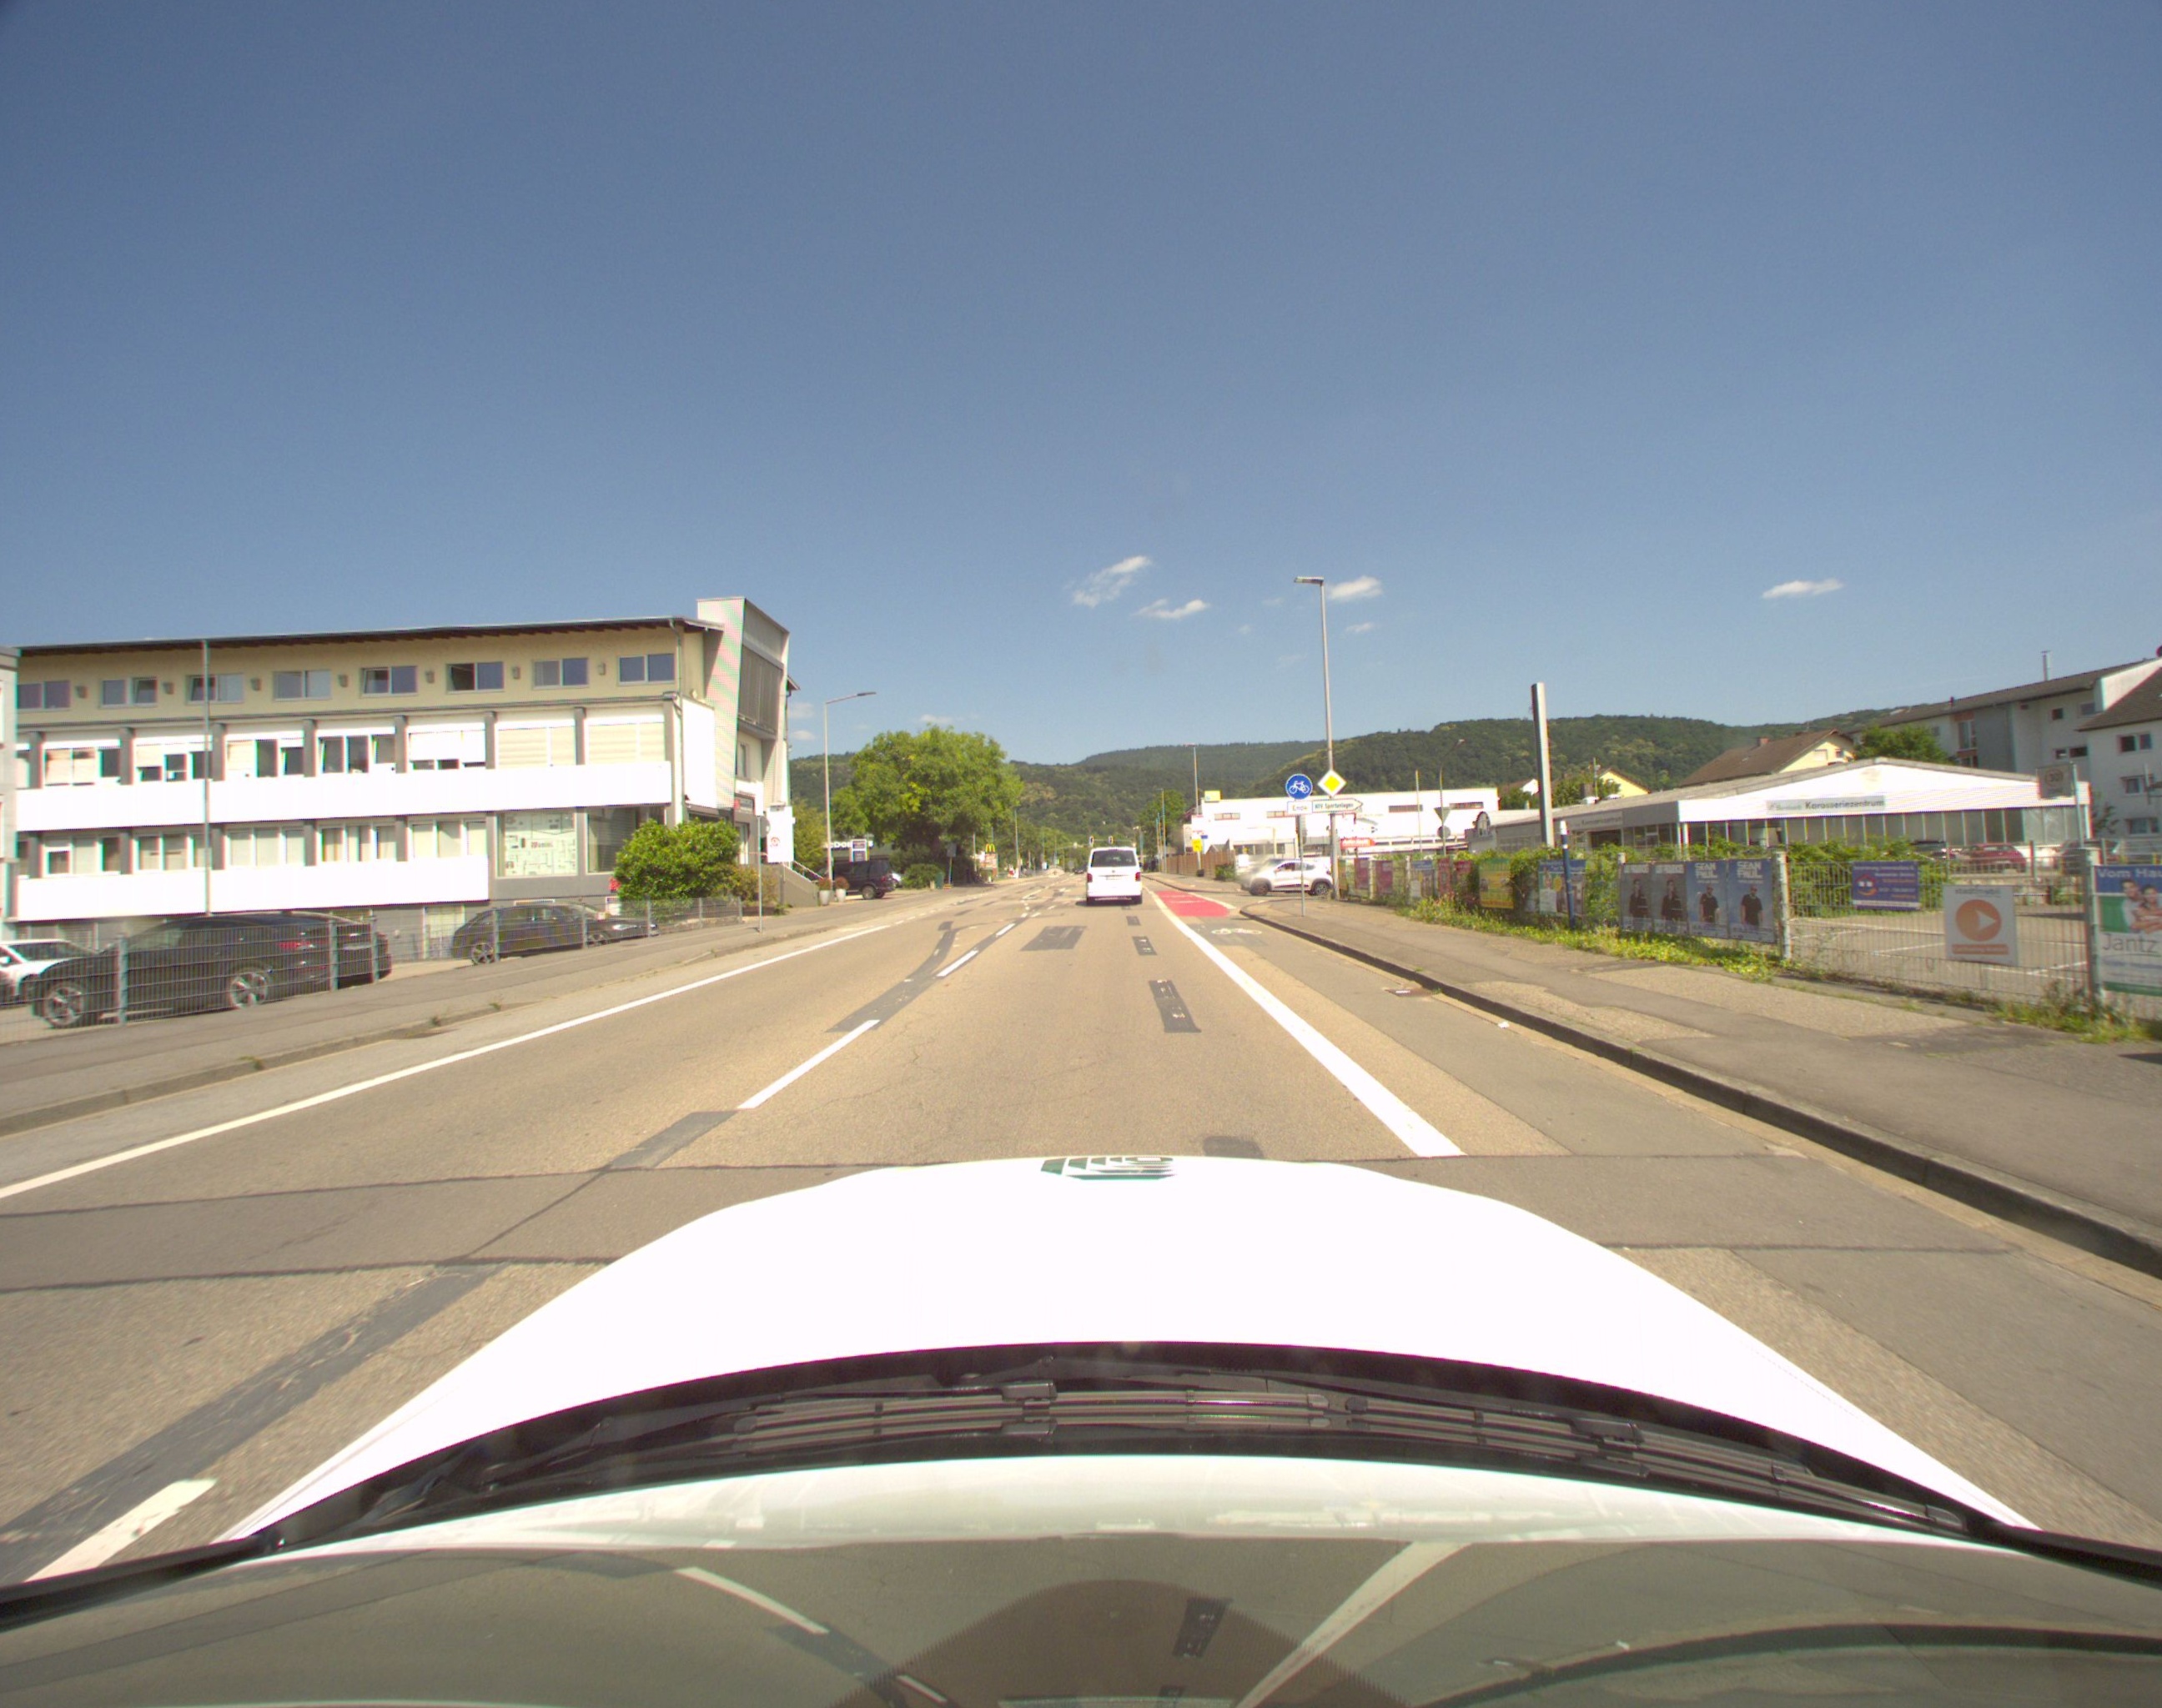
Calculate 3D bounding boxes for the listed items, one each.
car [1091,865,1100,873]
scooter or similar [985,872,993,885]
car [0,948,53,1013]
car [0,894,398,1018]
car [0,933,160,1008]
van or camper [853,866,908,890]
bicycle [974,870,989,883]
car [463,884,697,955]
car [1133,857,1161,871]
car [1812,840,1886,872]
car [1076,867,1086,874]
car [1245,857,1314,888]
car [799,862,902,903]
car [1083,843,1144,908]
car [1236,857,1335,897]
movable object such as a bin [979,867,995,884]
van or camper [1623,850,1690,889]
[{"bbox_3d":[3.038,3.108,168.785,1.842,1.588,4.002,-3,-1,2],"label":"car"},{"bbox_3d":[-8.168,2.166,72.390,0.645,1.128,1.620,1,-1,-5],"label":"scooter or similar"},{"bbox_3d":[-24.425,2.742,16.810,3.974,1.265,1.859,-2,-1,0],"label":"car"},{"bbox_3d":[-14.046,1.565,13.094,4.286,1.558,1.993,-3,-1,-3],"label":"car"},{"bbox_3d":[-24.669,2.728,19.097,3.974,1.461,1.859,-2,-1,0],"label":"car"},{"bbox_3d":[-13.901,1.642,56.501,3.377,1.665,1.635,0,-1,3],"label":"van or camper"},{"bbox_3d":[-8.406,1.903,68.894,1.024,1.118,2.764,0,-1,-1],"label":"bicycle"},{"bbox_3d":[-12.842,1.647,21.116,4.724,1.481,2.048,-3,-1,0],"label":"car"},{"bbox_3d":[9.664,1.448,119.472,3.965,1.775,2.004,-3,-1,7],"label":"car"},{"bbox_3d":[37.043,0.152,39.385,1.771,1.464,3.848,-1,-2,30],"label":"car"},{"bbox_3d":[-0.006,3.397,165.035,1.988,1.370,4.324,-3,-1,-1],"label":"car"},{"bbox_3d":[9.600,0.910,39.133,1.933,1.359,4.524,1,-1,31],"label":"car"},{"bbox_3d":[-11.522,1.426,40.903,4.557,1.865,2.090,-2,-1,-4],"label":"car"},{"bbox_3d":[1.072,0.736,28.963,1.928,2.060,4.543,-1,-1,0],"label":"car"},{"bbox_3d":[8.227,0.930,32.993,3.648,1.484,1.729,-2,-1,4],"label":"car"},{"bbox_3d":[-9.083,2.046,78.377,1.447,1.590,1.304,-3,-1,-7],"label":"movable object such as a bin"},{"bbox_3d":[27.529,0.757,39.101,1.975,1.543,4.254,-8,-5,28],"label":"van or camper"}]
